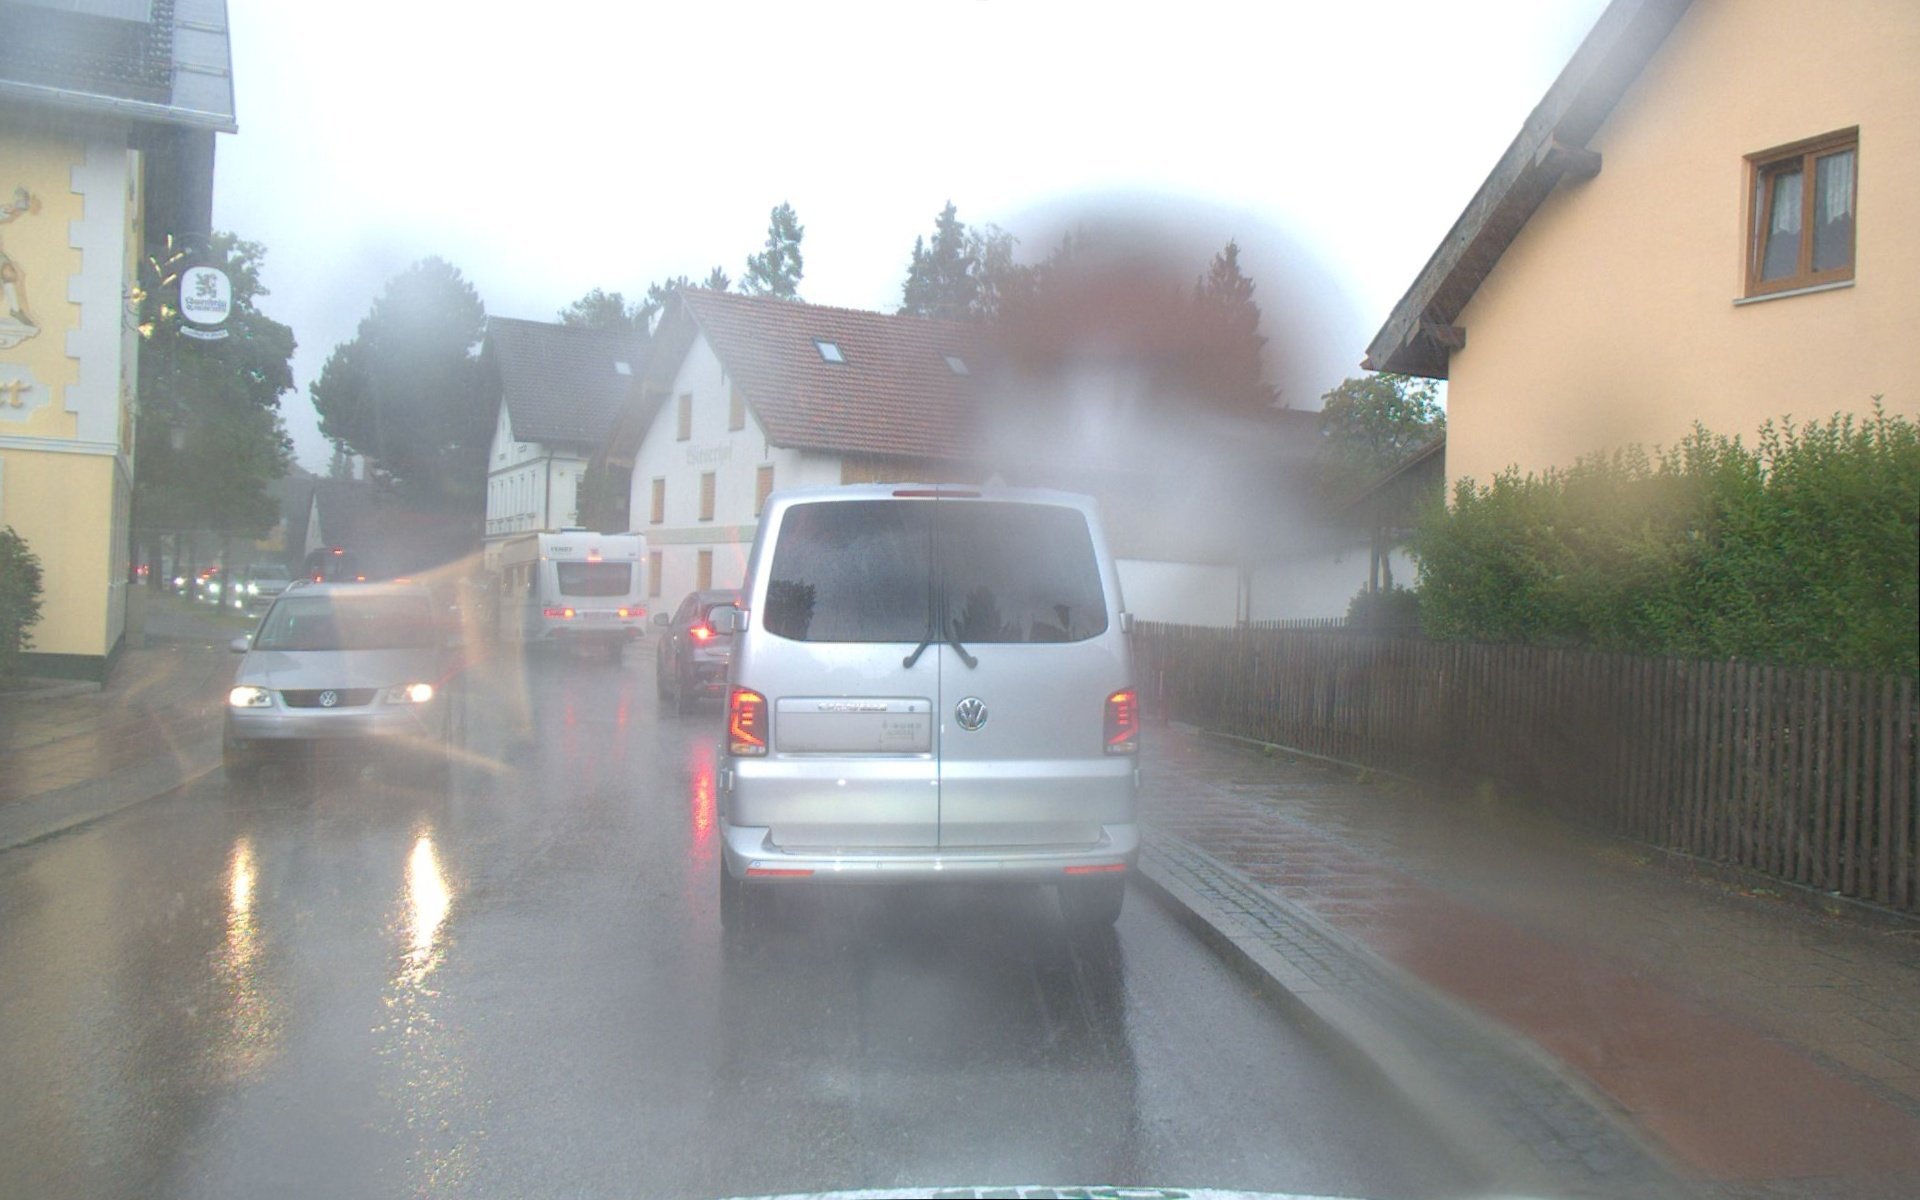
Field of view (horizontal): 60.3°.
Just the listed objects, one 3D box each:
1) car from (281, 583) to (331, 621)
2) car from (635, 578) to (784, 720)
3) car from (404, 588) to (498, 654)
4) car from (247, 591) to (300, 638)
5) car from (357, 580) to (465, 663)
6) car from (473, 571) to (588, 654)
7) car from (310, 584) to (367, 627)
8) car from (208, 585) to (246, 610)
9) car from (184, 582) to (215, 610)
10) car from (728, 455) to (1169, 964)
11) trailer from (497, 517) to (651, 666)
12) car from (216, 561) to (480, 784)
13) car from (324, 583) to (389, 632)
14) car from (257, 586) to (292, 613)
[{"bbox_3d":[-36.716,0.113,92.782,2.142,1.932,4.973,2,0,-26],"label":"car"},{"bbox_3d":[-3.398,0.540,21.817,1.678,1.611,4.672,-1,1,-12],"label":"car"},{"bbox_3d":[-16.730,0.645,54.226,2.142,1.932,4.973,2,0,-26],"label":"car"},{"bbox_3d":[-30.416,0.646,73.185,1.829,2.006,4.660,0,0,-27],"label":"car"},{"bbox_3d":[-11.501,0.418,34.558,1.569,1.638,3.505,0,0,-28],"label":"car"},{"bbox_3d":[-10.784,0.292,41.285,2.026,1.932,5.138,1,0,-23],"label":"car"},{"bbox_3d":[-31.378,0.252,83.431,2.142,1.932,4.973,2,0,-26],"label":"car"},{"bbox_3d":[-42.568,-0.147,96.051,1.839,1.382,4.446,0,1,-26],"label":"car"},{"bbox_3d":[-51.671,-0.272,112.394,1.839,1.788,4.448,-2,1,-25],"label":"car"},{"bbox_3d":[-0.170,0.430,9.078,1.741,1.997,5.071,0,0,-3],"label":"car"},{"bbox_3d":[-8.541,-0.170,36.128,2.240,2.955,6.088,1,0,-23],"label":"trailer"},{"bbox_3d":[-5.311,0.558,14.822,1.723,1.707,3.986,0,0,-13],"label":"car"},{"bbox_3d":[-26.656,0.296,72.963,2.142,1.932,4.973,2,0,-26],"label":"car"},{"bbox_3d":[-54.006,-0.068,130.266,2.142,1.932,4.973,2,0,-26],"label":"car"}]
